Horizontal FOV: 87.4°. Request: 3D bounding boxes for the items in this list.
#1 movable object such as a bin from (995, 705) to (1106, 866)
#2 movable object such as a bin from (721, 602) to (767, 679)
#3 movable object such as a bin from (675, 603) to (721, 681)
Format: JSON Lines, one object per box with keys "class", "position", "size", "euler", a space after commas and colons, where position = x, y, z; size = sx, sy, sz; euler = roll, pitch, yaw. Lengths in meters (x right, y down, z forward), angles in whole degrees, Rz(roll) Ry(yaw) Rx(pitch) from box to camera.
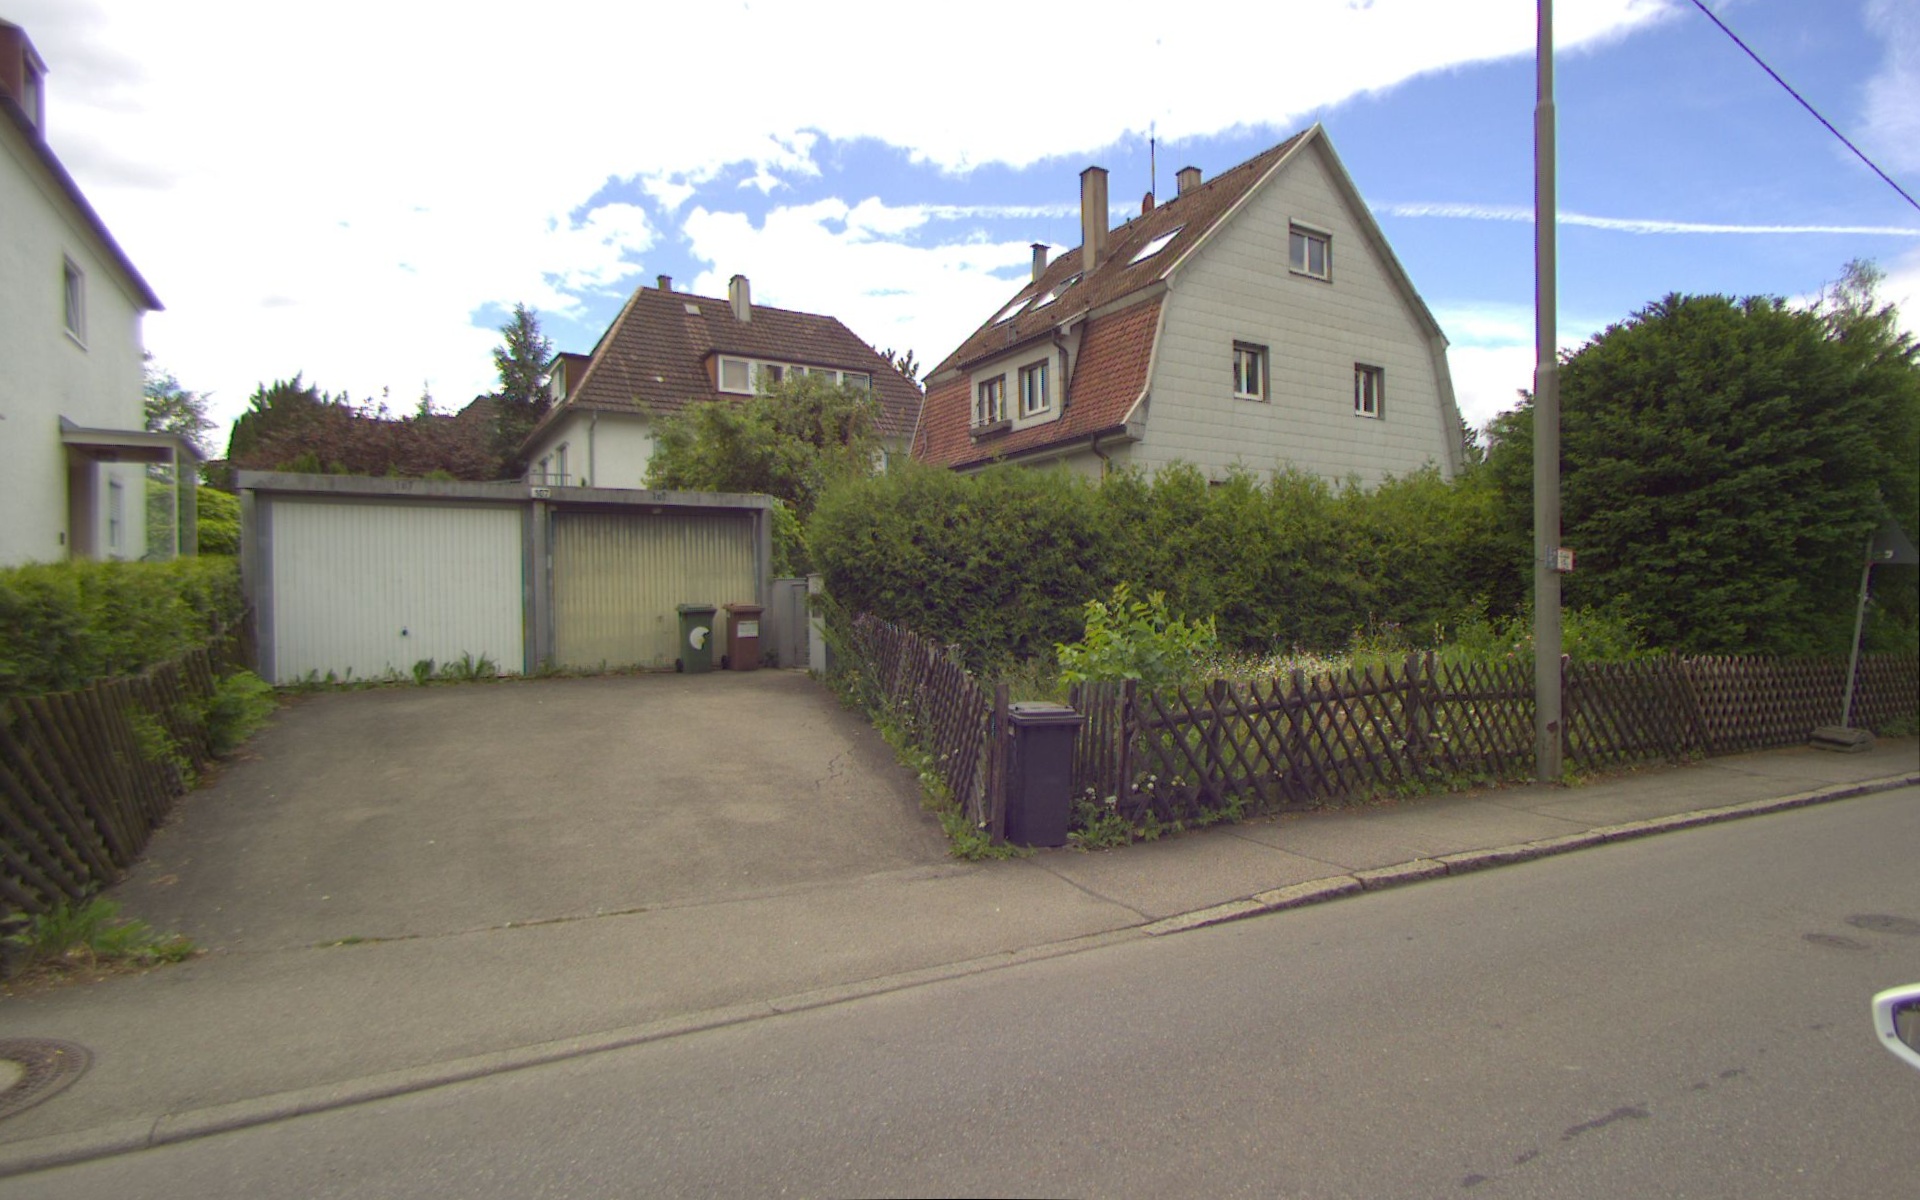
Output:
{"class": "movable object such as a bin", "position": [0.596, 1.201, 6.680], "size": [0.531, 0.950, 0.548], "euler": [1, -1, -28]}
{"class": "movable object such as a bin", "position": [-2.999, 0.551, 13.949], "size": [0.494, 1.027, 0.490], "euler": [-2, 1, -27]}
{"class": "movable object such as a bin", "position": [-3.552, 0.557, 13.609], "size": [0.494, 1.027, 0.490], "euler": [-2, 1, -27]}
